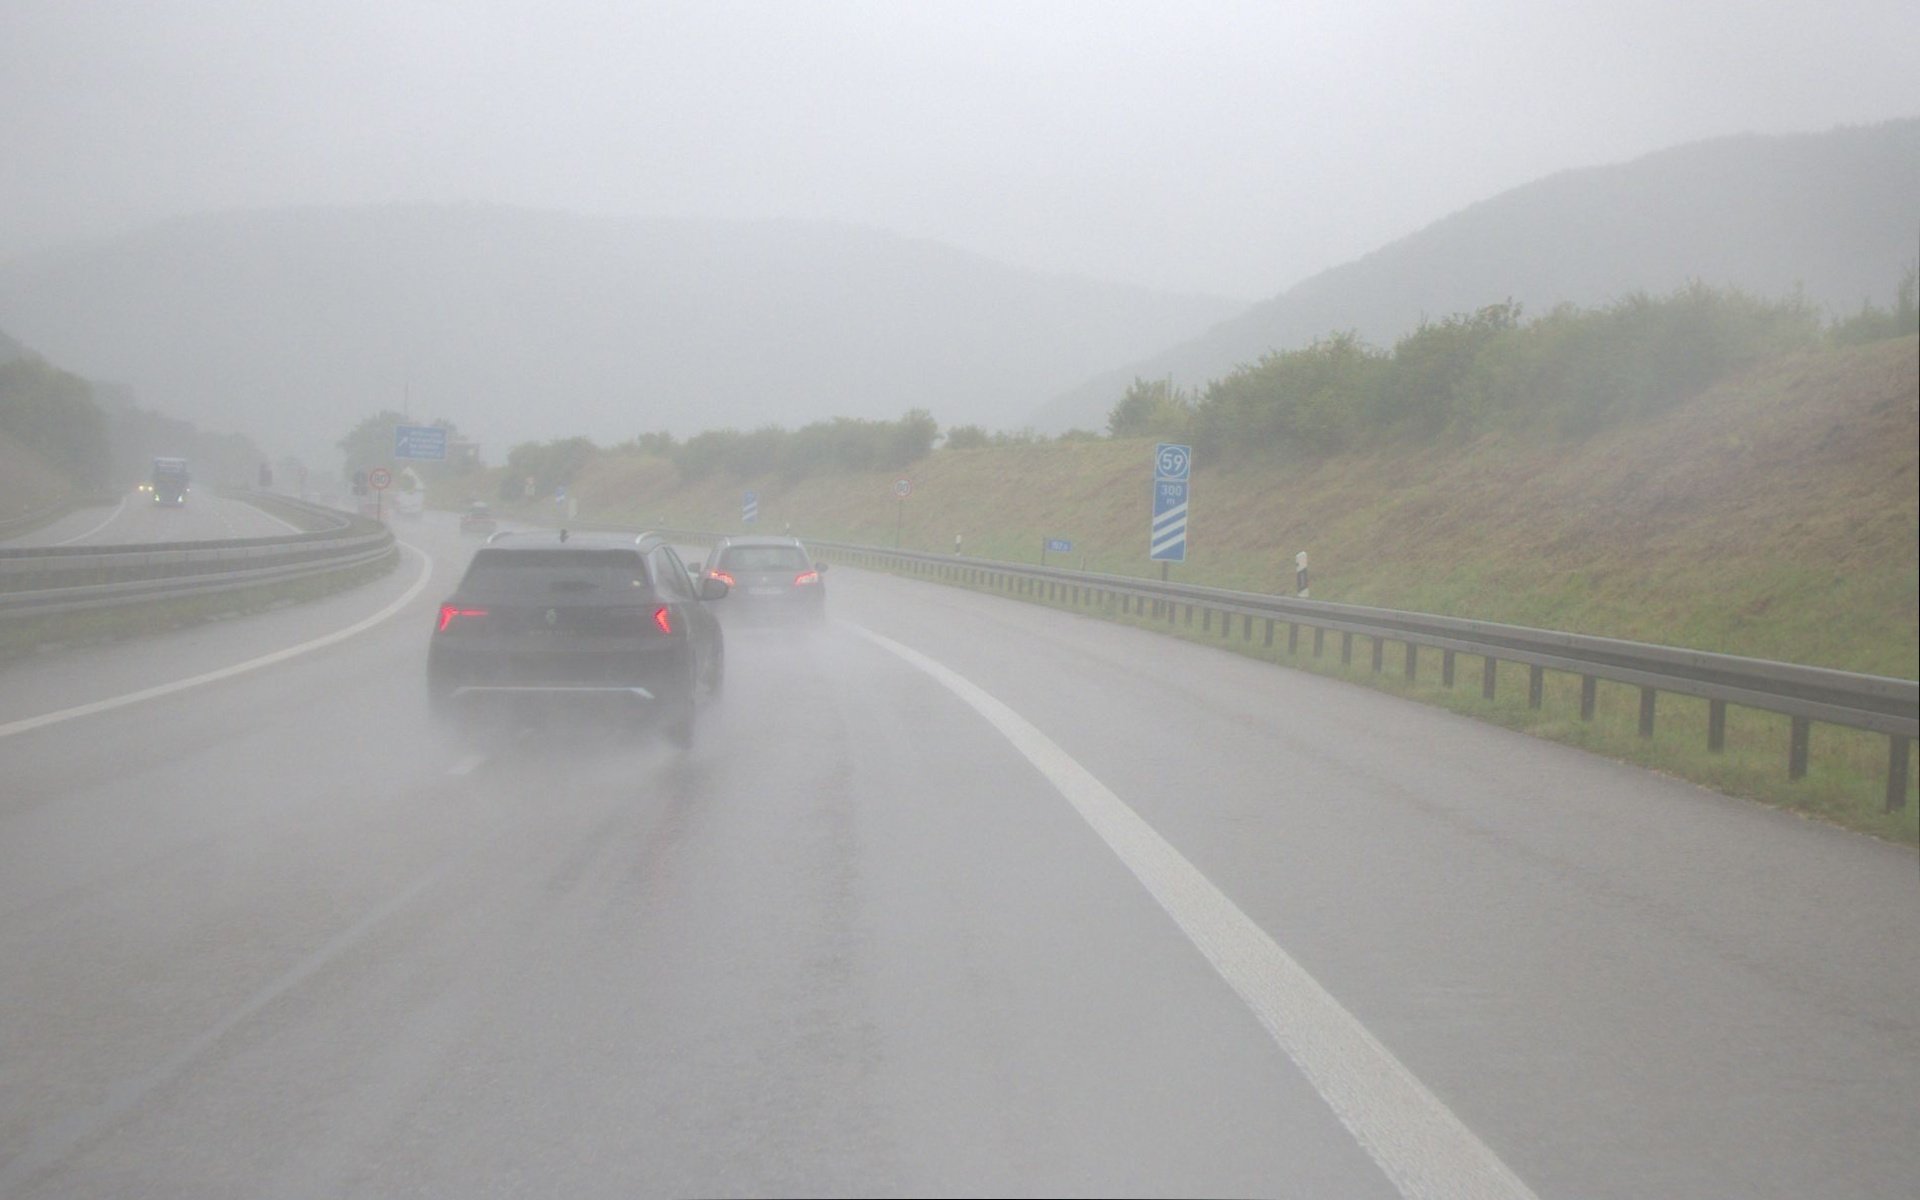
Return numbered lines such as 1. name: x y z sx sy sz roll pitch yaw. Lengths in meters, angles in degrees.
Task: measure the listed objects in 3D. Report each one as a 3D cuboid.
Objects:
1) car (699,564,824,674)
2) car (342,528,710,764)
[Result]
1. car: -2.856 0.247 49.662 1.679 1.467 3.815 2 0 -3
2. car: -3.128 0.291 25.462 2.405 1.510 4.785 2 0 -5
